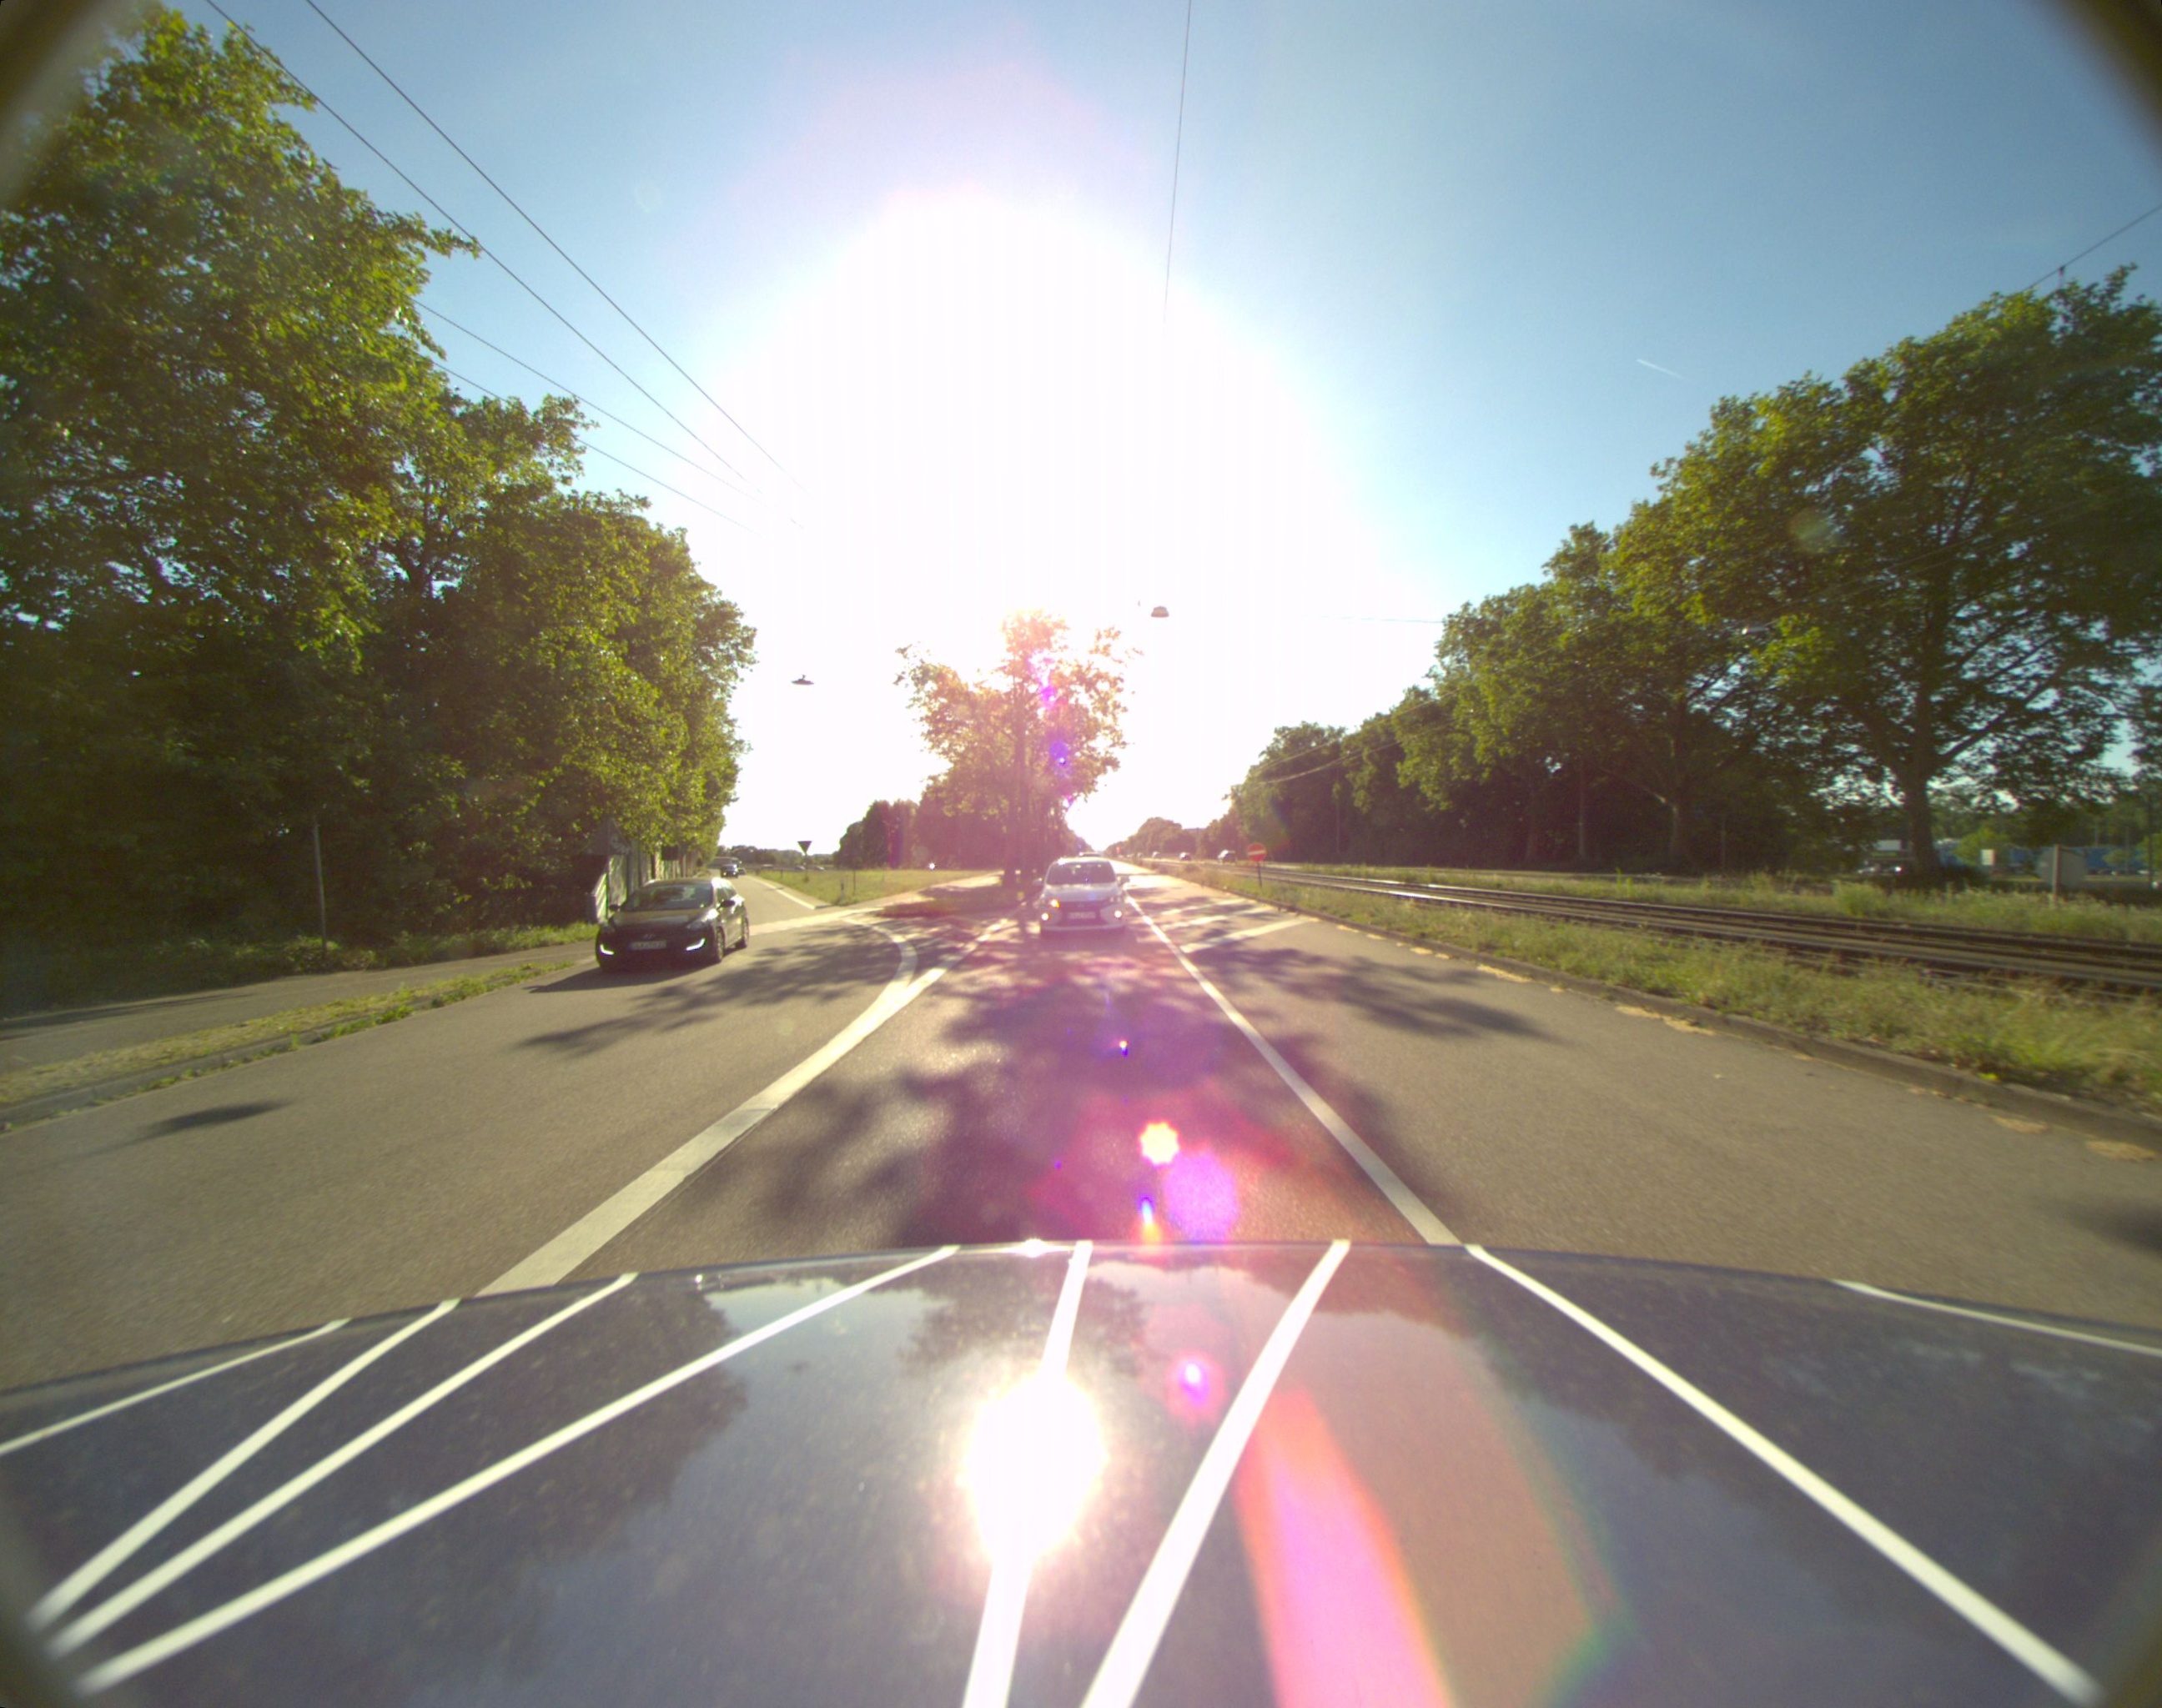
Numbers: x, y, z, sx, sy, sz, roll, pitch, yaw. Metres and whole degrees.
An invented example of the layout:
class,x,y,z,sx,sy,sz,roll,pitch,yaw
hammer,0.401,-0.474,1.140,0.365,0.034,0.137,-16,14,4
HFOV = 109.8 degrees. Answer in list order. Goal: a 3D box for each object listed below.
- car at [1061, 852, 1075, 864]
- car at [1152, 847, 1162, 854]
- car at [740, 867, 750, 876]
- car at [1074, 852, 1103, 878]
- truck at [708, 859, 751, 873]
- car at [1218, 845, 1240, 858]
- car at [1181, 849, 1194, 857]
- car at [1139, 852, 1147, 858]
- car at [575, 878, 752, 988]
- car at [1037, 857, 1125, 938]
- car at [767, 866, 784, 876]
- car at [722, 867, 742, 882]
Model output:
class,x,y,z,sx,sy,sz,roll,pitch,yaw
car,-1.980,0.582,115.169,1.886,1.790,3.644,-2,0,-1
car,19.371,-0.830,193.123,1.968,1.697,4.943,1,1,-2
car,-68.929,3.578,155.886,1.817,1.762,3.855,-3,1,-23
car,0.473,0.651,48.262,1.709,1.512,3.844,-2,1,1
truck,-99.417,3.432,215.053,10.626,3.474,2.646,3,-1,-28
car,20.264,-0.402,104.218,1.903,1.684,4.940,1,0,-1
car,19.864,-0.198,142.207,1.715,1.459,4.347,1,0,-1
car,19.716,0.245,241.613,1.851,1.724,4.930,1,1,-1
car,-7.240,1.259,13.661,1.799,1.432,4.218,-2,1,-16
car,0.046,0.881,17.078,1.709,1.503,3.862,-2,1,1
car,-43.660,2.392,108.499,1.697,1.409,4.126,-3,1,-28
car,-38.025,2.212,82.786,1.800,1.432,4.215,-3,1,-25
